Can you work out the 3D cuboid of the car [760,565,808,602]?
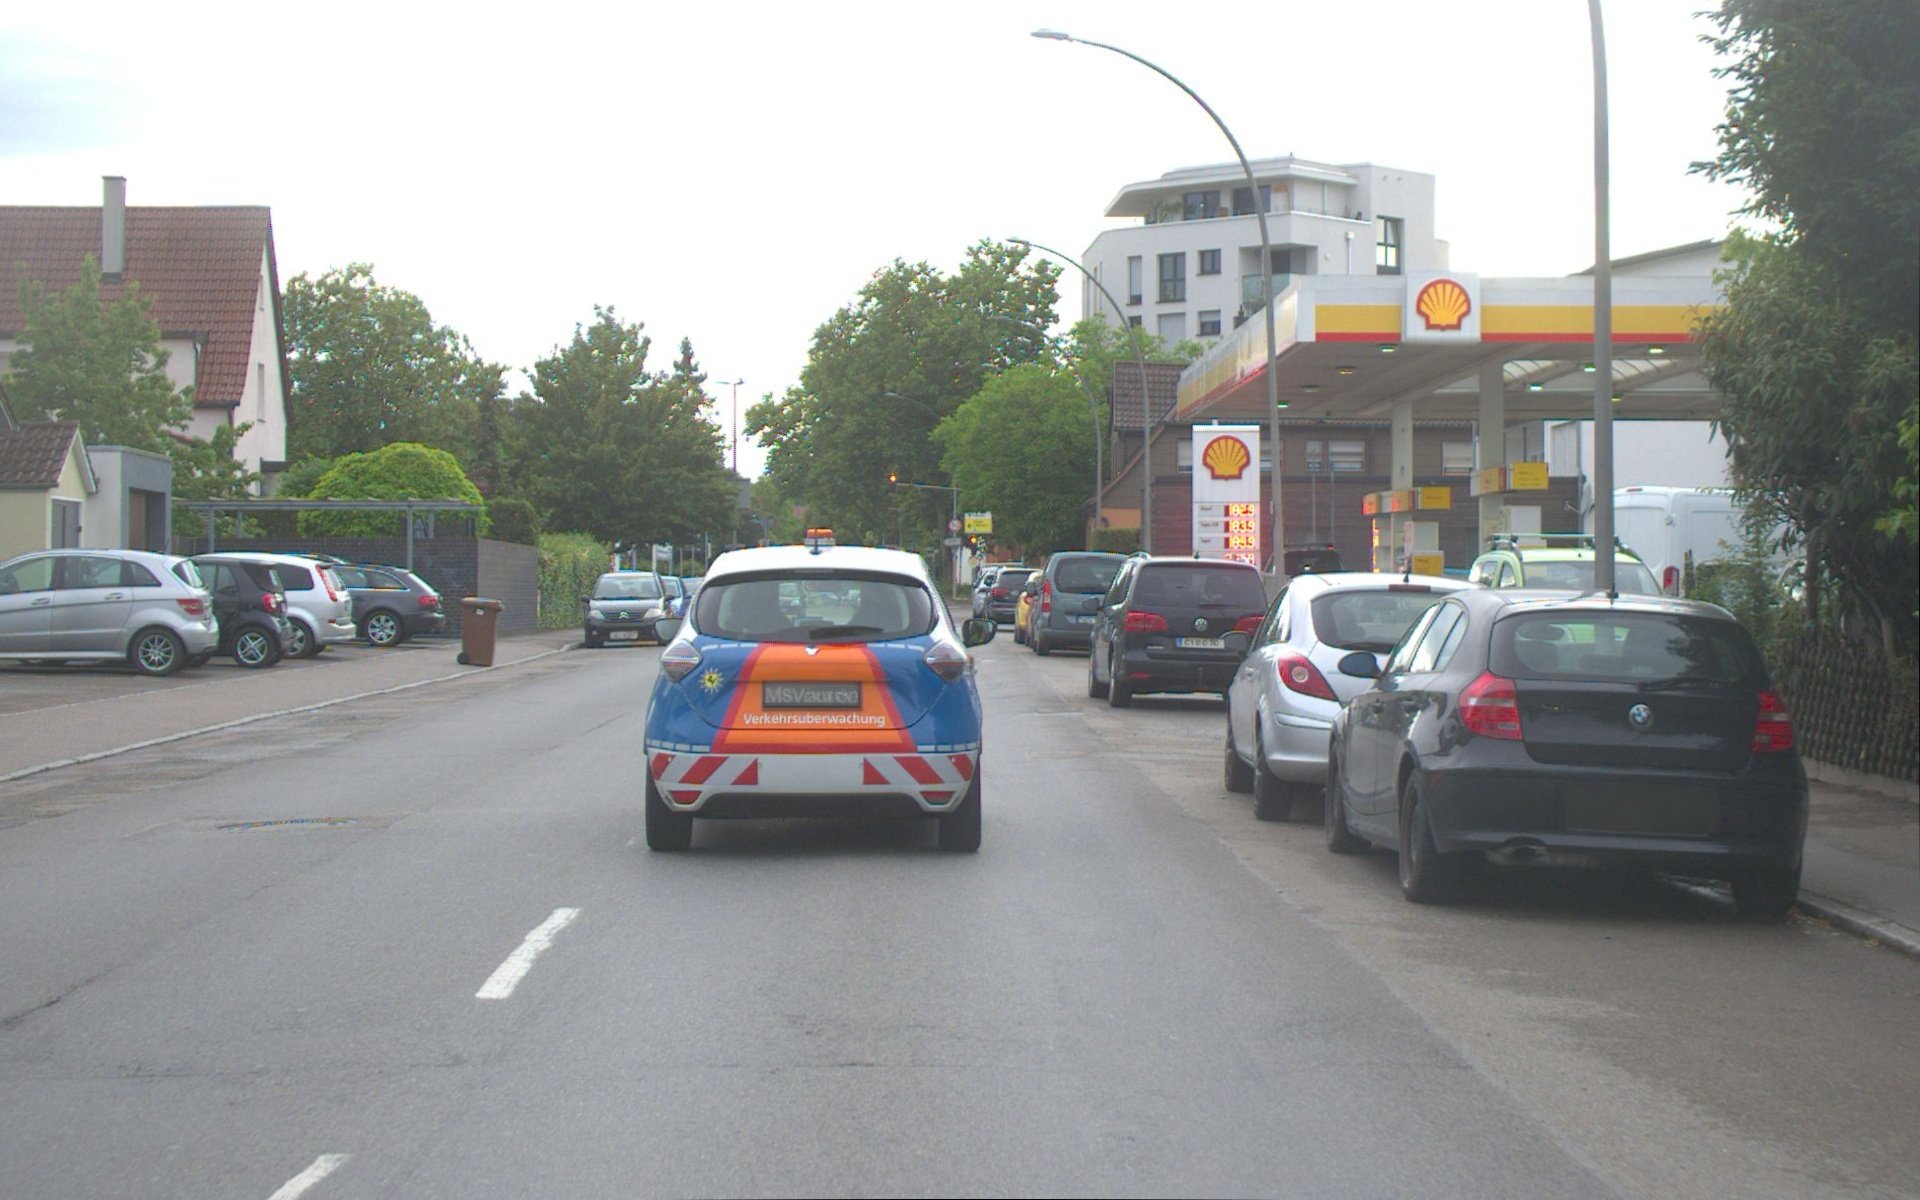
[{"bbox_3d":[-6.863,-0.666,134.604,1.626,1.428,3.683,0,0,1],"label":"car"}]

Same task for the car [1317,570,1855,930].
[{"bbox_3d":[2.784,0.607,16.083,1.737,1.398,3.719,2,1,-1],"label":"car"}]

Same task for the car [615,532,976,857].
[{"bbox_3d":[-0.823,0.425,18.698,1.745,1.575,4.000,0,1,-1],"label":"car"}]

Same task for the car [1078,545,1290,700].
[{"bbox_3d":[2.376,0.199,37.421,1.993,1.590,4.000,0,1,-1],"label":"car"}]

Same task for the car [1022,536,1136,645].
[{"bbox_3d":[2.024,-0.176,59.404,1.656,1.732,4.445,3,0,-1],"label":"car"}]

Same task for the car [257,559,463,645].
[{"bbox_3d":[-11.067,0.031,63.627,3.584,1.452,1.757,2,0,-5],"label":"car"}]

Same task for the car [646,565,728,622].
[{"bbox_3d":[-6.953,-0.183,87.826,1.807,1.398,3.945,-1,0,-1],"label":"car"}]

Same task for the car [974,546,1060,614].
[{"bbox_3d":[1.491,-0.544,90.949,2.091,1.656,4.559,2,1,-1],"label":"car"}]

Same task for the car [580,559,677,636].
[{"bbox_3d":[-6.675,-0.064,69.539,1.608,1.501,3.707,-1,0,-1],"label":"car"}]

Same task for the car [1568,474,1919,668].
[{"bbox_3d":[10.905,-0.397,46.587,4.787,2.512,2.248,0,1,-22],"label":"car"}]

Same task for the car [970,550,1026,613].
[{"bbox_3d":[1.330,-0.662,118.478,1.778,2.022,4.753,2,1,2],"label":"car"}]

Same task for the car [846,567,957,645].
[{"bbox_3d":[-1.256,0.102,75.317,1.994,1.568,3.999,2,1,5],"label":"car"}]

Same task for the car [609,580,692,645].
[{"bbox_3d":[-6.976,0.264,77.748,1.545,1.398,3.597,-1,0,-1],"label":"car"}]

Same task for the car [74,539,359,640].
[{"bbox_3d":[-11.324,-0.172,52.598,4.083,1.508,1.884,0,1,-6],"label":"car"}]

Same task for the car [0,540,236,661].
[{"bbox_3d":[-11.567,-0.009,44.562,4.083,1.527,2.000,0,1,-6],"label":"car"}]

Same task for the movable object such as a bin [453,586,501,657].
[{"bbox_3d":[-7.687,0.344,54.747,0.595,1.053,0.687,5,2,-1],"label":"movable object such as a bin"}]

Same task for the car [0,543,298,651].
[{"bbox_3d":[-11.528,-0.055,48.746,4.083,1.498,1.757,0,1,-6],"label":"car"}]

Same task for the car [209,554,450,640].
[{"bbox_3d":[-11.096,-0.067,60.733,4.083,1.409,1.714,1,1,-8],"label":"car"}]

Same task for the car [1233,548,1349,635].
[{"bbox_3d":[6.880,-0.189,71.879,1.819,1.753,4.001,0,1,-3],"label":"car"}]

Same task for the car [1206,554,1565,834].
[{"bbox_3d":[2.525,0.504,21.239,1.737,1.497,3.881,2,1,1],"label":"car"}]

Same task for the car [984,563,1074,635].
[{"bbox_3d":[1.377,-0.027,69.424,1.656,1.397,3.802,0,0,-1],"label":"car"}]

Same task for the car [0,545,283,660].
[{"bbox_3d":[-11.389,0.017,46.804,4.083,1.527,1.814,0,1,-4],"label":"car"}]

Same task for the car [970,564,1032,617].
[{"bbox_3d":[1.313,-0.312,112.473,1.865,1.659,4.320,1,0,-1],"label":"car"}]

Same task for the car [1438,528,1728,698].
[{"bbox_3d":[6.434,0.100,35.962,1.993,1.677,4.001,0,1,-5],"label":"car"}]
